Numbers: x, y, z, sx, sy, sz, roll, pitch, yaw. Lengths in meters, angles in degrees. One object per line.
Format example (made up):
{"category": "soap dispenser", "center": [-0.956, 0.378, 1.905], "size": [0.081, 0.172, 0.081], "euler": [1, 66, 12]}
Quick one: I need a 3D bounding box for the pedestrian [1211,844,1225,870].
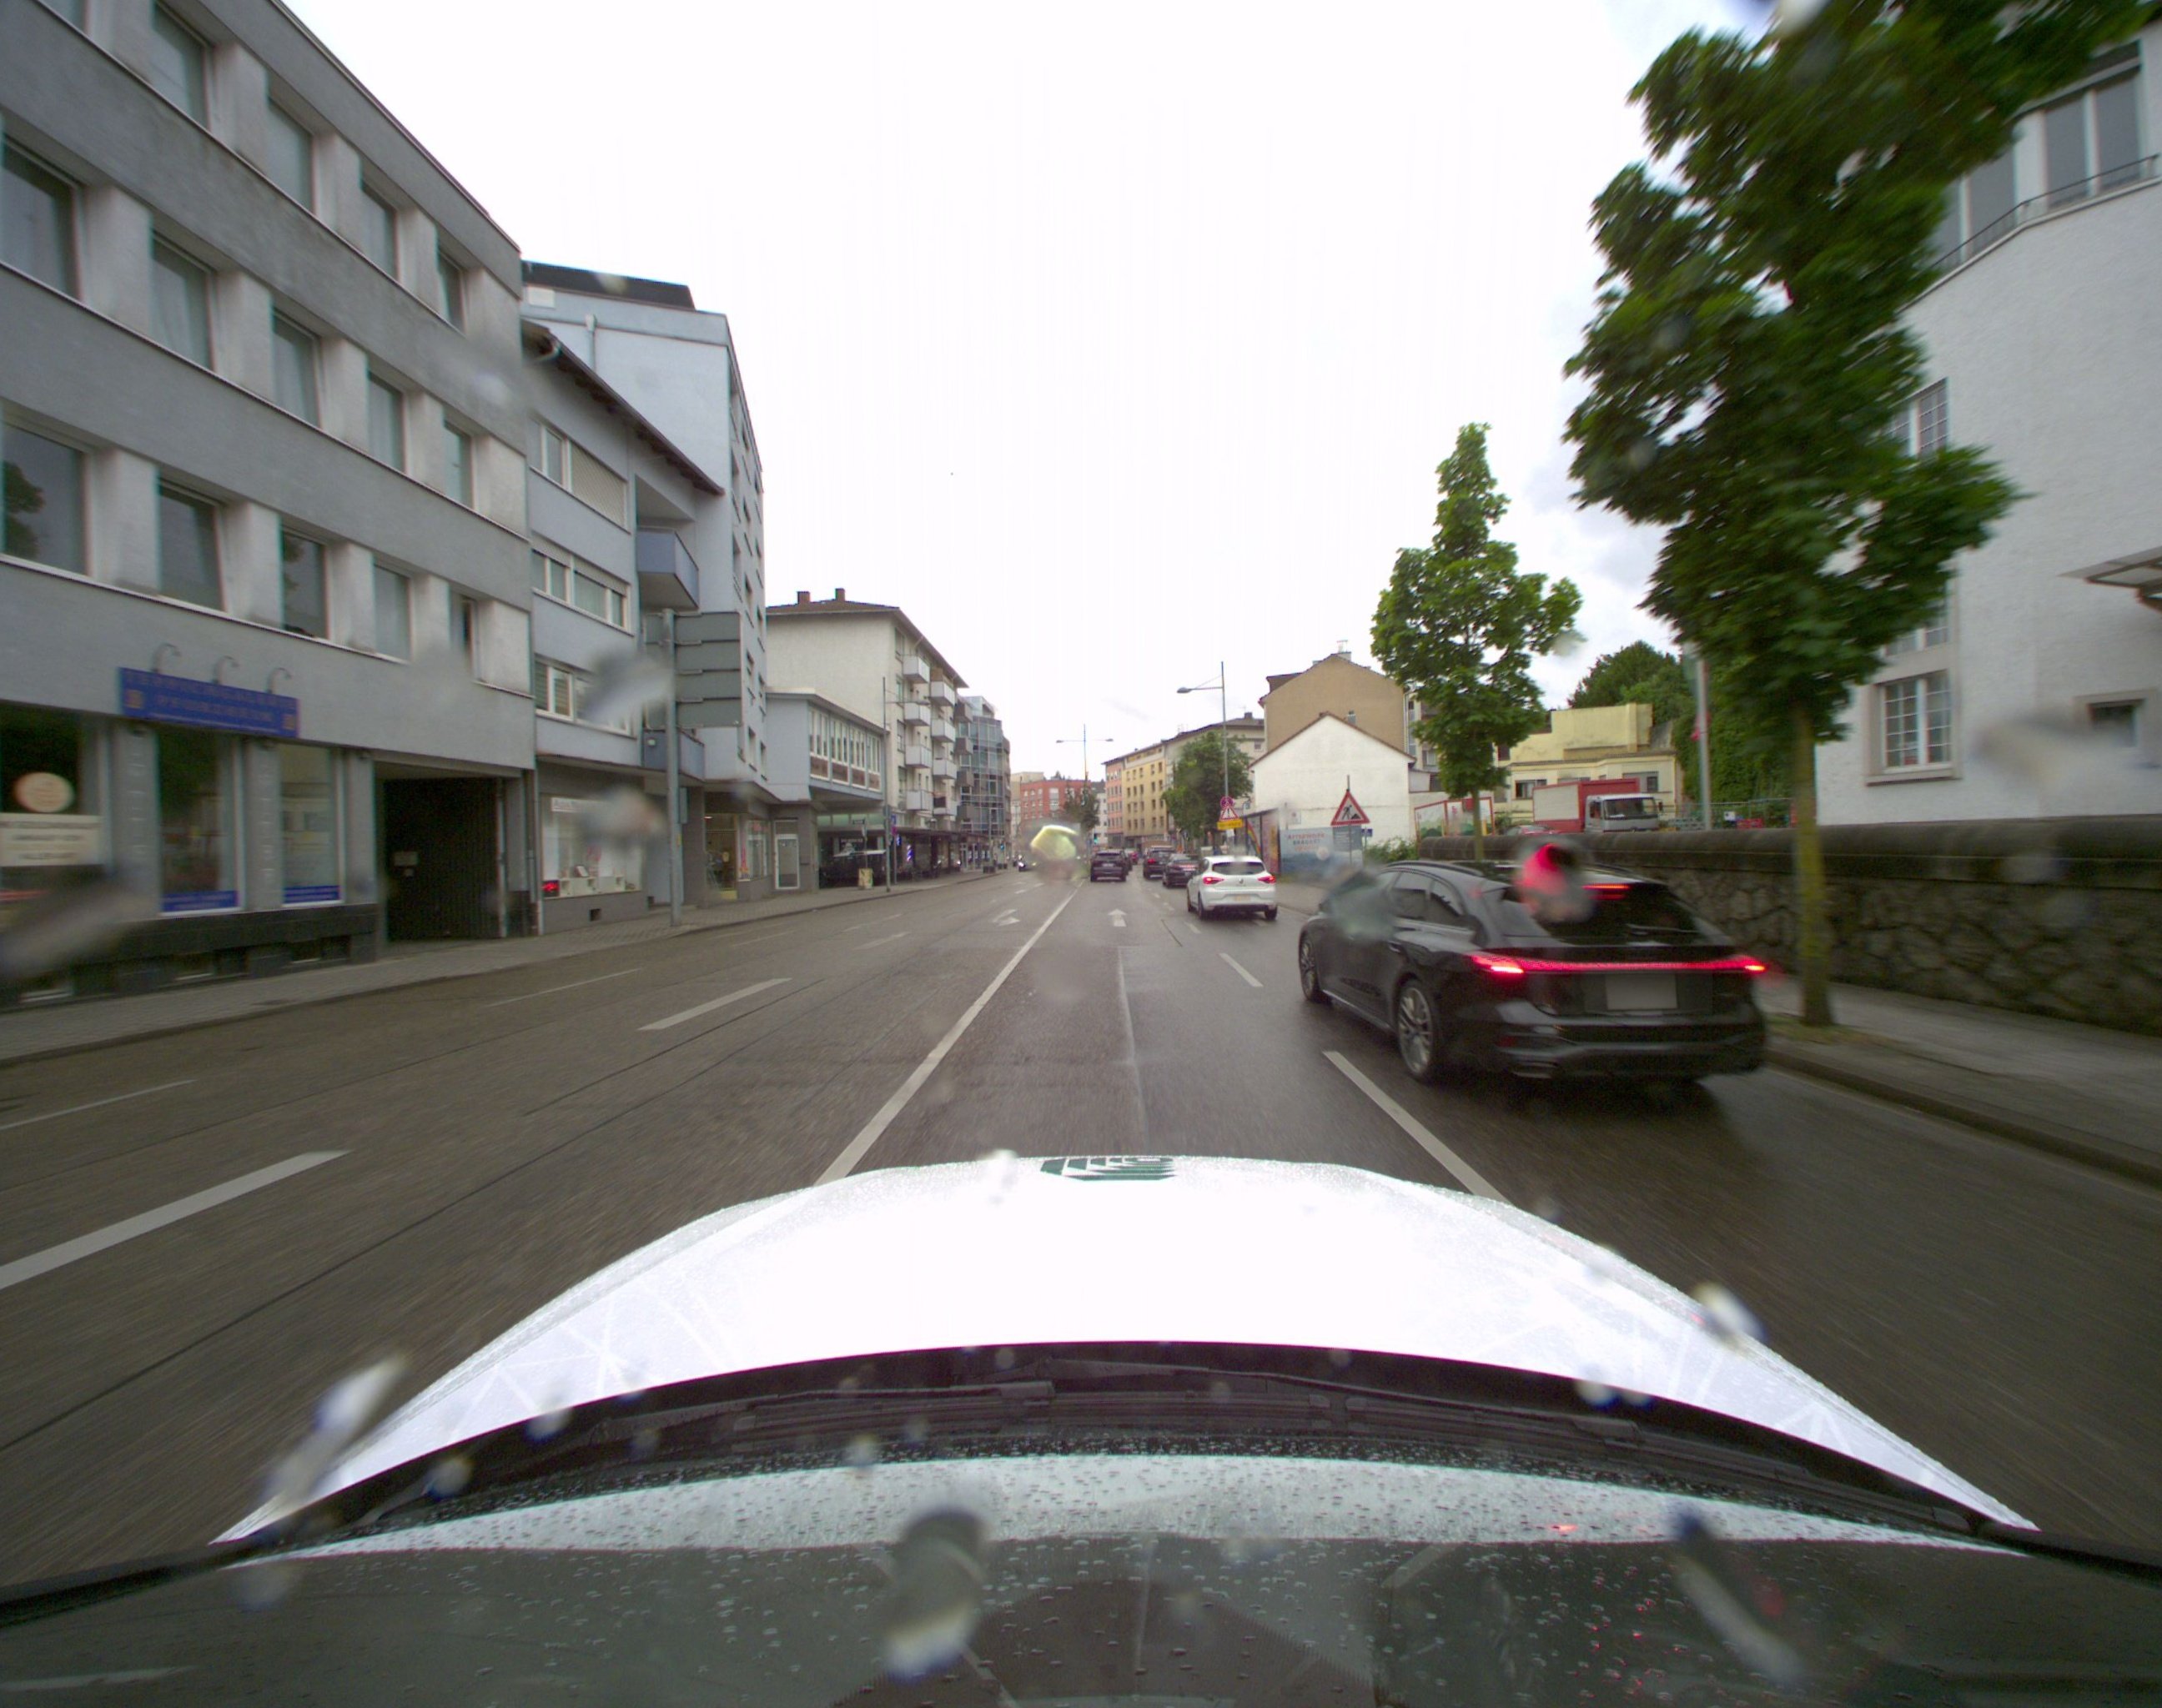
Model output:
{"category": "pedestrian", "center": [9.470, 0.187, 56.317], "size": [0.785, 1.755, 0.875], "euler": [-3, 0, 15]}

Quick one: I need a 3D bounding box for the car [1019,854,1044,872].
{"category": "car", "center": [-4.488, 0.792, 74.302], "size": [1.701, 1.468, 4.833], "euler": [-4, 0, 3]}

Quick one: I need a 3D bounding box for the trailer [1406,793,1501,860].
{"category": "trailer", "center": [16.984, -1.208, 37.517], "size": [2.117, 2.716, 5.398], "euler": [-4, 0, 5]}

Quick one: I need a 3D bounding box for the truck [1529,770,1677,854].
{"category": "truck", "center": [22.849, -1.714, 36.171], "size": [2.618, 3.215, 6.942], "euler": [-4, 0, 7]}

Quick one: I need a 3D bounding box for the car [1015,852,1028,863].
{"category": "car", "center": [-8.220, 0.475, 112.247], "size": [1.548, 1.570, 3.340], "euler": [0, 0, -7]}

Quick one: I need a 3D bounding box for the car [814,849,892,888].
{"category": "car", "center": [-13.026, 0.825, 46.714], "size": [3.948, 2.034, 1.581], "euler": [-2, 0, 1]}

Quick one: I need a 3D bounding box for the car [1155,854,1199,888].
{"category": "car", "center": [4.187, 0.705, 35.646], "size": [1.777, 1.400, 3.725], "euler": [-1, 0, 6]}

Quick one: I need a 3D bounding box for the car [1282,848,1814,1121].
{"category": "car", "center": [3.091, 0.696, 6.711], "size": [1.783, 1.403, 4.635], "euler": [-2, 0, 1]}

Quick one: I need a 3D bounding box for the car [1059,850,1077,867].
{"category": "car", "center": [-1.400, 0.501, 88.886], "size": [1.676, 1.661, 4.099], "euler": [-4, 0, 3]}

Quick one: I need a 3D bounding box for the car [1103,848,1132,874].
{"category": "car", "center": [2.373, 0.416, 52.817], "size": [1.816, 1.600, 3.721], "euler": [0, 0, 3]}

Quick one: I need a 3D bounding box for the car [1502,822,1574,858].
{"category": "car", "center": [20.167, -0.587, 36.049], "size": [1.581, 1.456, 3.270], "euler": [-3, 0, 6]}

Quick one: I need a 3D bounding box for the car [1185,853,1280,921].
{"category": "car", "center": [3.491, 0.707, 19.397], "size": [1.658, 1.396, 3.869], "euler": [0, 1, 2]}

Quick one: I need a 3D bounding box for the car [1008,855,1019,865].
{"category": "car", "center": [-10.336, 0.940, 124.118], "size": [1.455, 1.430, 3.360], "euler": [0, 1, -9]}

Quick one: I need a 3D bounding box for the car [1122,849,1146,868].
{"category": "car", "center": [4.098, 0.353, 63.387], "size": [1.635, 1.381, 3.349], "euler": [-3, 0, 1]}

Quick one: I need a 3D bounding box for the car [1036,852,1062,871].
{"category": "car", "center": [-2.577, 0.596, 66.939], "size": [1.714, 1.423, 4.168], "euler": [-4, 0, 2]}

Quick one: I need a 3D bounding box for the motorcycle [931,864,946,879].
{"category": "motorcycle", "center": [-9.920, 1.217, 56.649], "size": [0.523, 0.995, 2.138], "euler": [0, 0, 4]}

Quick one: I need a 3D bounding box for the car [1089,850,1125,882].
{"category": "car", "center": [1.399, 0.582, 42.802], "size": [1.816, 1.600, 3.721], "euler": [0, 0, 3]}

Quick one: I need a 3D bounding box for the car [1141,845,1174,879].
{"category": "car", "center": [4.329, 0.429, 46.462], "size": [1.822, 1.805, 3.723], "euler": [0, 1, 4]}

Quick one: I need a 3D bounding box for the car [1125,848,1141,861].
{"category": "car", "center": [5.886, 0.030, 93.045], "size": [1.635, 1.381, 3.349], "euler": [-3, 0, 1]}

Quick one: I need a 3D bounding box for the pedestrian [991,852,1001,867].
{"category": "pedestrian", "center": [-9.401, 0.621, 89.778], "size": [0.786, 1.591, 0.755], "euler": [-3, 0, -34]}

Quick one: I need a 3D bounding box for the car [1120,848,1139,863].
{"category": "car", "center": [4.691, 0.157, 79.292], "size": [1.635, 1.381, 3.349], "euler": [-3, 0, 1]}
